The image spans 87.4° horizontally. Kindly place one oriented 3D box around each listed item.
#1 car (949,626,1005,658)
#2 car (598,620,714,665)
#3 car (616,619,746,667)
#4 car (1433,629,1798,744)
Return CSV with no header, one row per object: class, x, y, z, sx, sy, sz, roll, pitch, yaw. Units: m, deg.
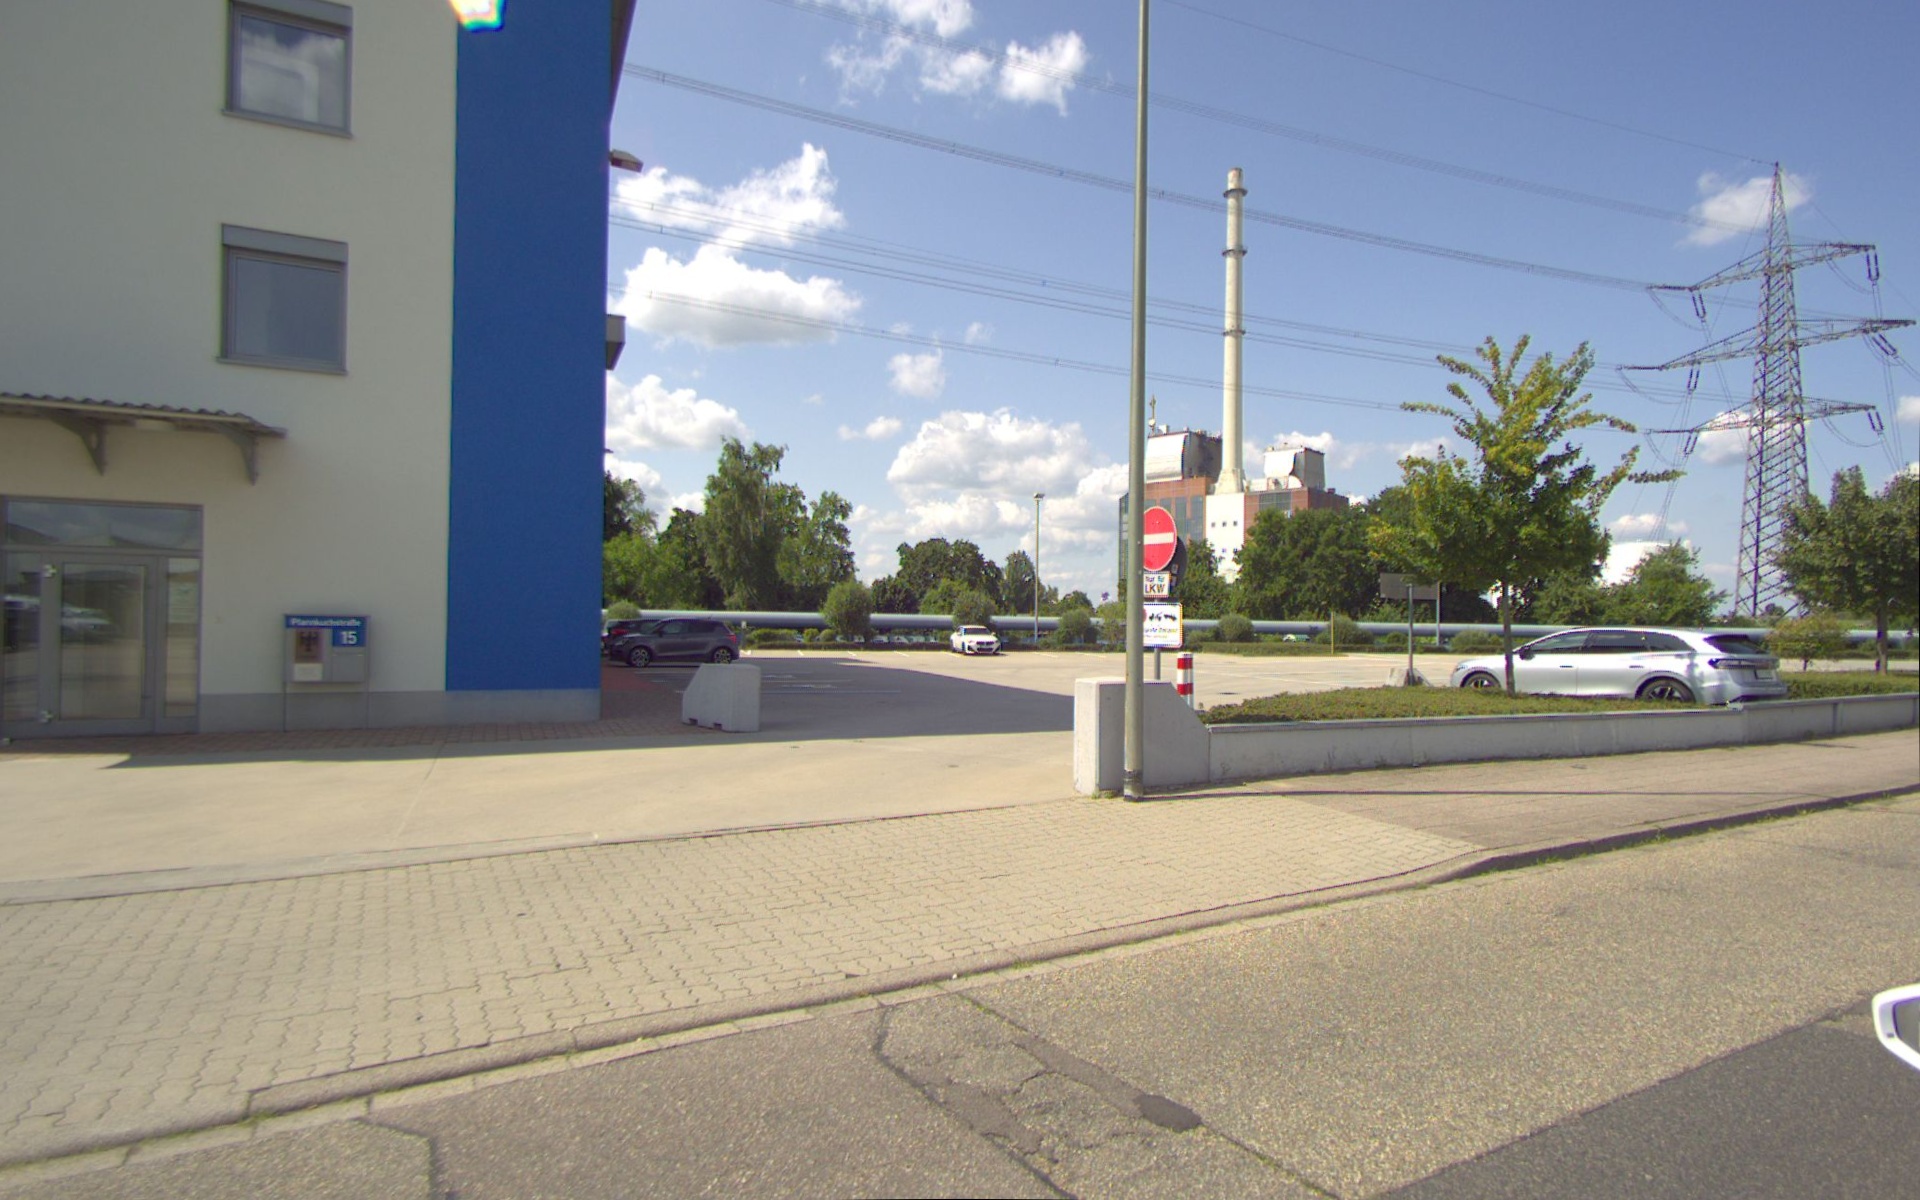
car,0.797,2.070,50.159,1.774,1.493,3.813,1,-1,-16
car,-10.574,1.488,34.995,3.632,1.394,1.557,3,-2,-26
car,-8.544,1.301,30.794,3.632,1.394,1.557,2,-1,-26
car,10.703,1.345,16.813,1.979,1.623,4.728,2,-3,-33
